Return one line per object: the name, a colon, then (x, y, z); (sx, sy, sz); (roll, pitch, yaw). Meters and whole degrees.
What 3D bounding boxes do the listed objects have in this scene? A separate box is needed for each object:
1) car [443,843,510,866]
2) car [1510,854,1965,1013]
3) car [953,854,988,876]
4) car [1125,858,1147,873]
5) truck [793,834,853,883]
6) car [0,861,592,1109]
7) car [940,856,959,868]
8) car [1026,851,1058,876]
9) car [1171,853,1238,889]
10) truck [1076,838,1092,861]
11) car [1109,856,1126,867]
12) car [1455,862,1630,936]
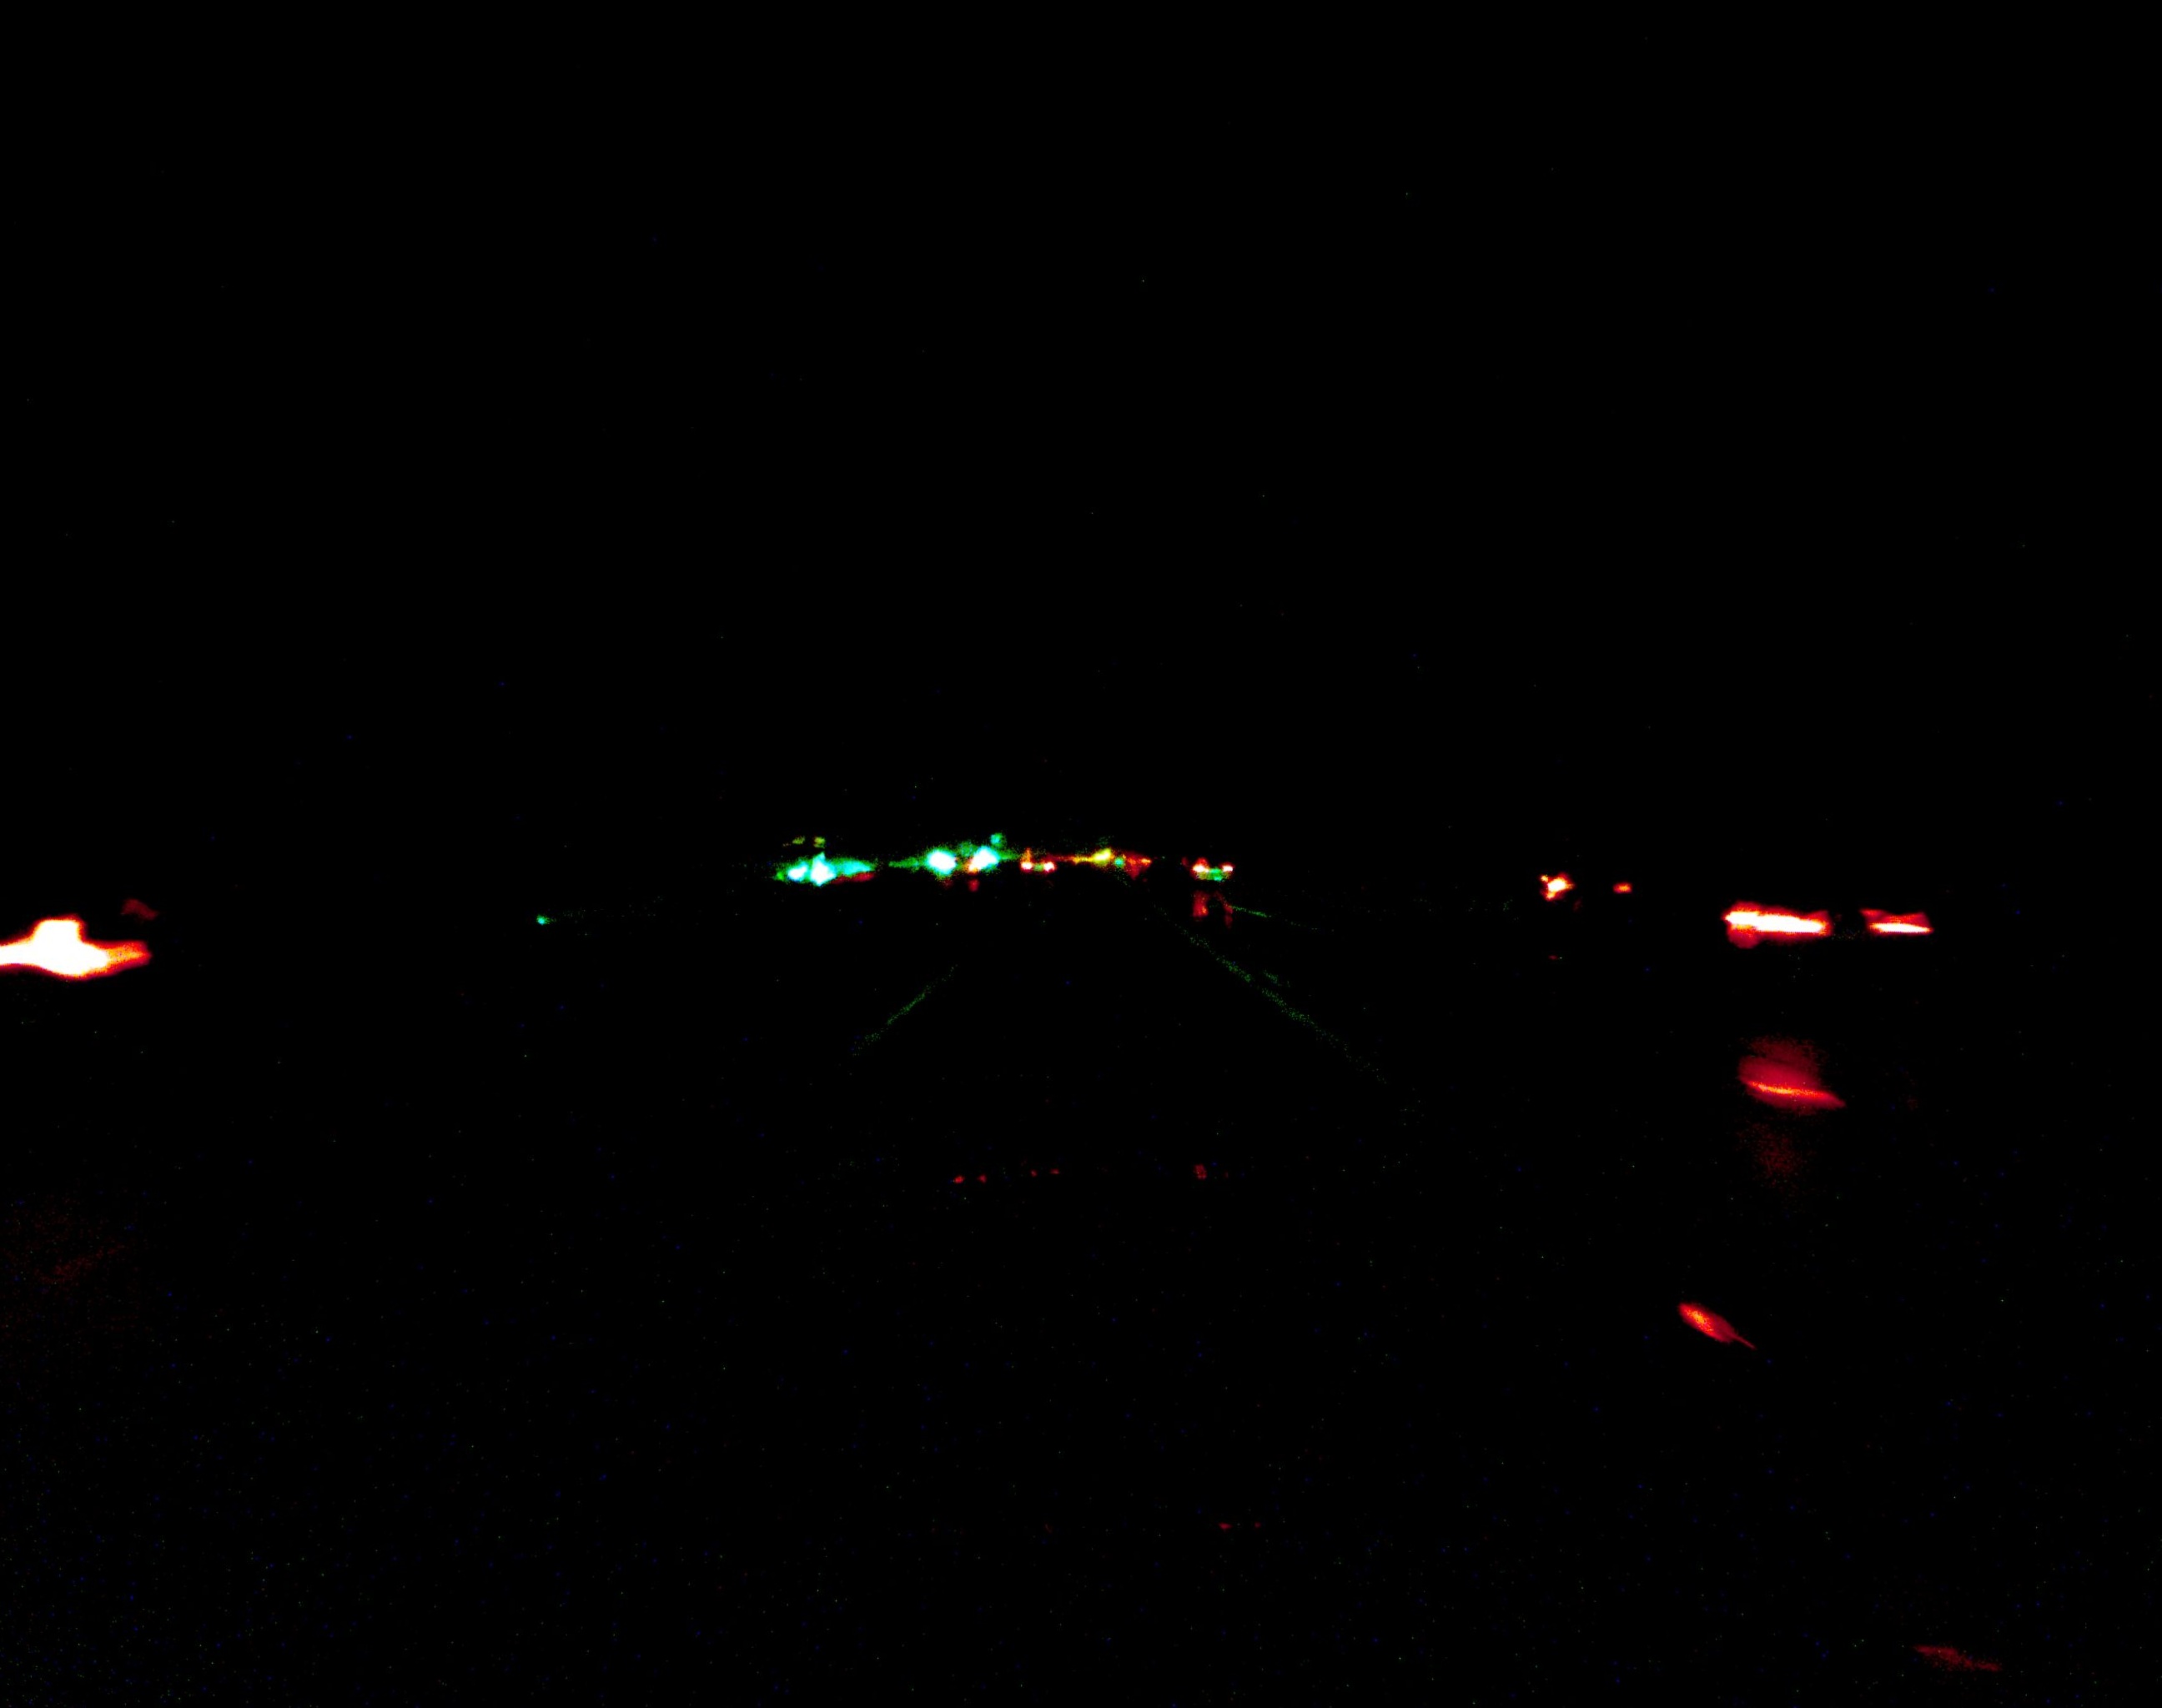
car: (-47.281, 0.029, 63.820); (1.777, 1.787, 4.277); (1, 0, 6)
car: (7.322, 0.746, 9.825); (1.987, 1.449, 4.334); (-1, 0, -1)
car: (-7.025, 0.698, 52.070); (1.658, 1.236, 3.759); (-4, -1, -1)
car: (4.875, 0.980, 72.375); (1.577, 1.246, 3.065); (1, 1, -4)
truck: (-23.181, 0.437, 73.472); (2.804, 4.006, 7.348); (-4, -1, 0)
car: (-6.985, 0.873, 7.636); (1.852, 1.540, 4.751); (-1, 0, 1)
car: (-16.444, 1.047, 102.293); (1.608, 1.299, 3.703); (-4, -1, 2)
car: (-2.448, 0.601, 51.790); (1.796, 1.487, 4.000); (1, 0, 0)
car: (5.563, 0.744, 37.401); (2.053, 1.519, 5.009); (1, 0, -3)
truck: (0.513, -0.587, 119.598); (1.986, 3.043, 6.467); (-4, -1, 2)
car: (4.138, 0.855, 92.629); (1.577, 1.246, 3.064); (-1, -1, -4)
car: (10.810, 0.981, 19.451); (1.716, 1.497, 4.039); (-1, 0, -4)
